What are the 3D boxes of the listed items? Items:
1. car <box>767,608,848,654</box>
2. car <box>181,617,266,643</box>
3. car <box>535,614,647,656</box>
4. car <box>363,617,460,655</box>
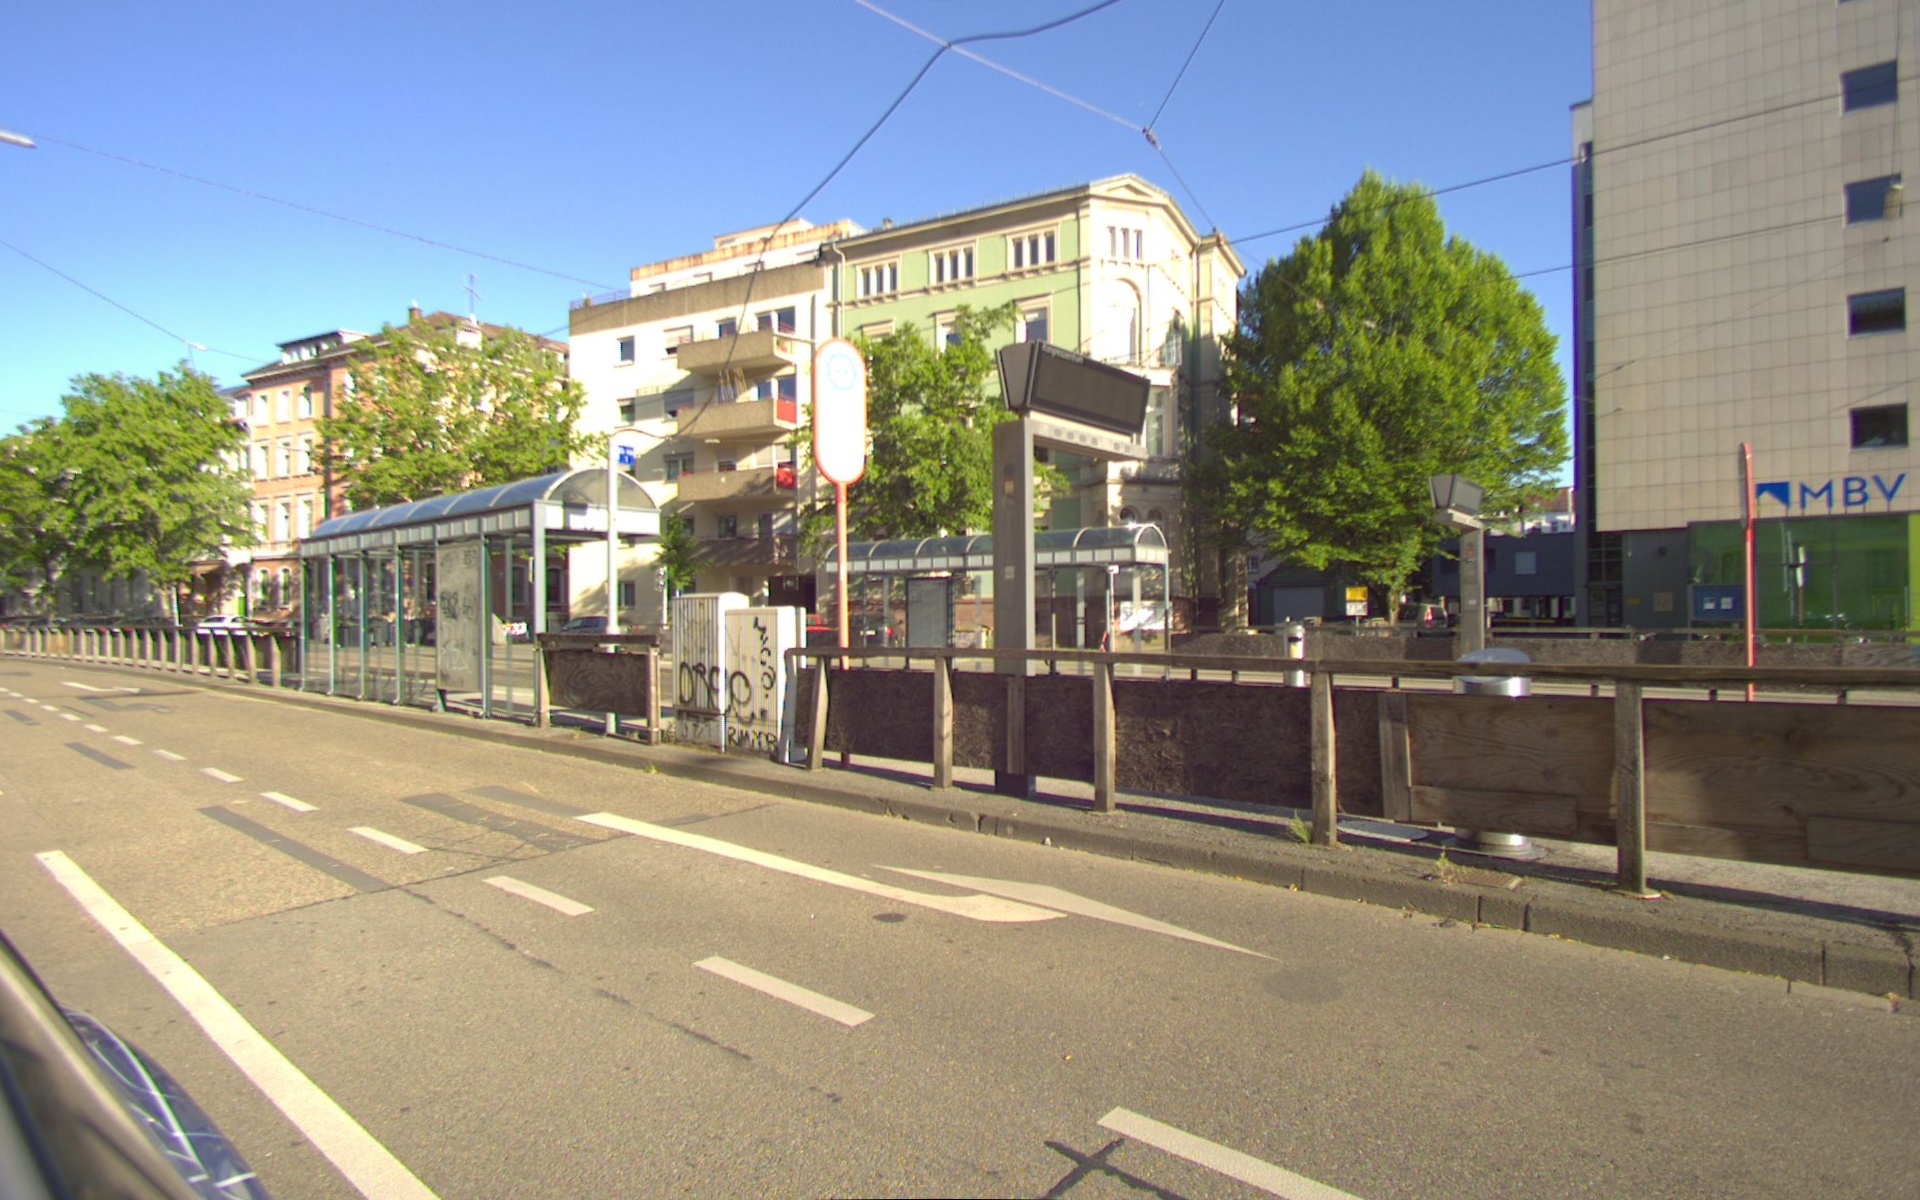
[{"bbox_3d":[-7.006,1.416,46.813,1.791,2.029,3.963,-1,-1,27],"label":"car"},{"bbox_3d":[-39.249,1.576,54.029,1.565,1.360,3.631,0,-1,11],"label":"car"},{"bbox_3d":[-14.087,1.347,38.594,3.987,1.542,1.978,-1,-3,32],"label":"car"},{"bbox_3d":[-23.502,1.517,43.357,3.987,1.541,1.978,-1,-2,32],"label":"car"}]
